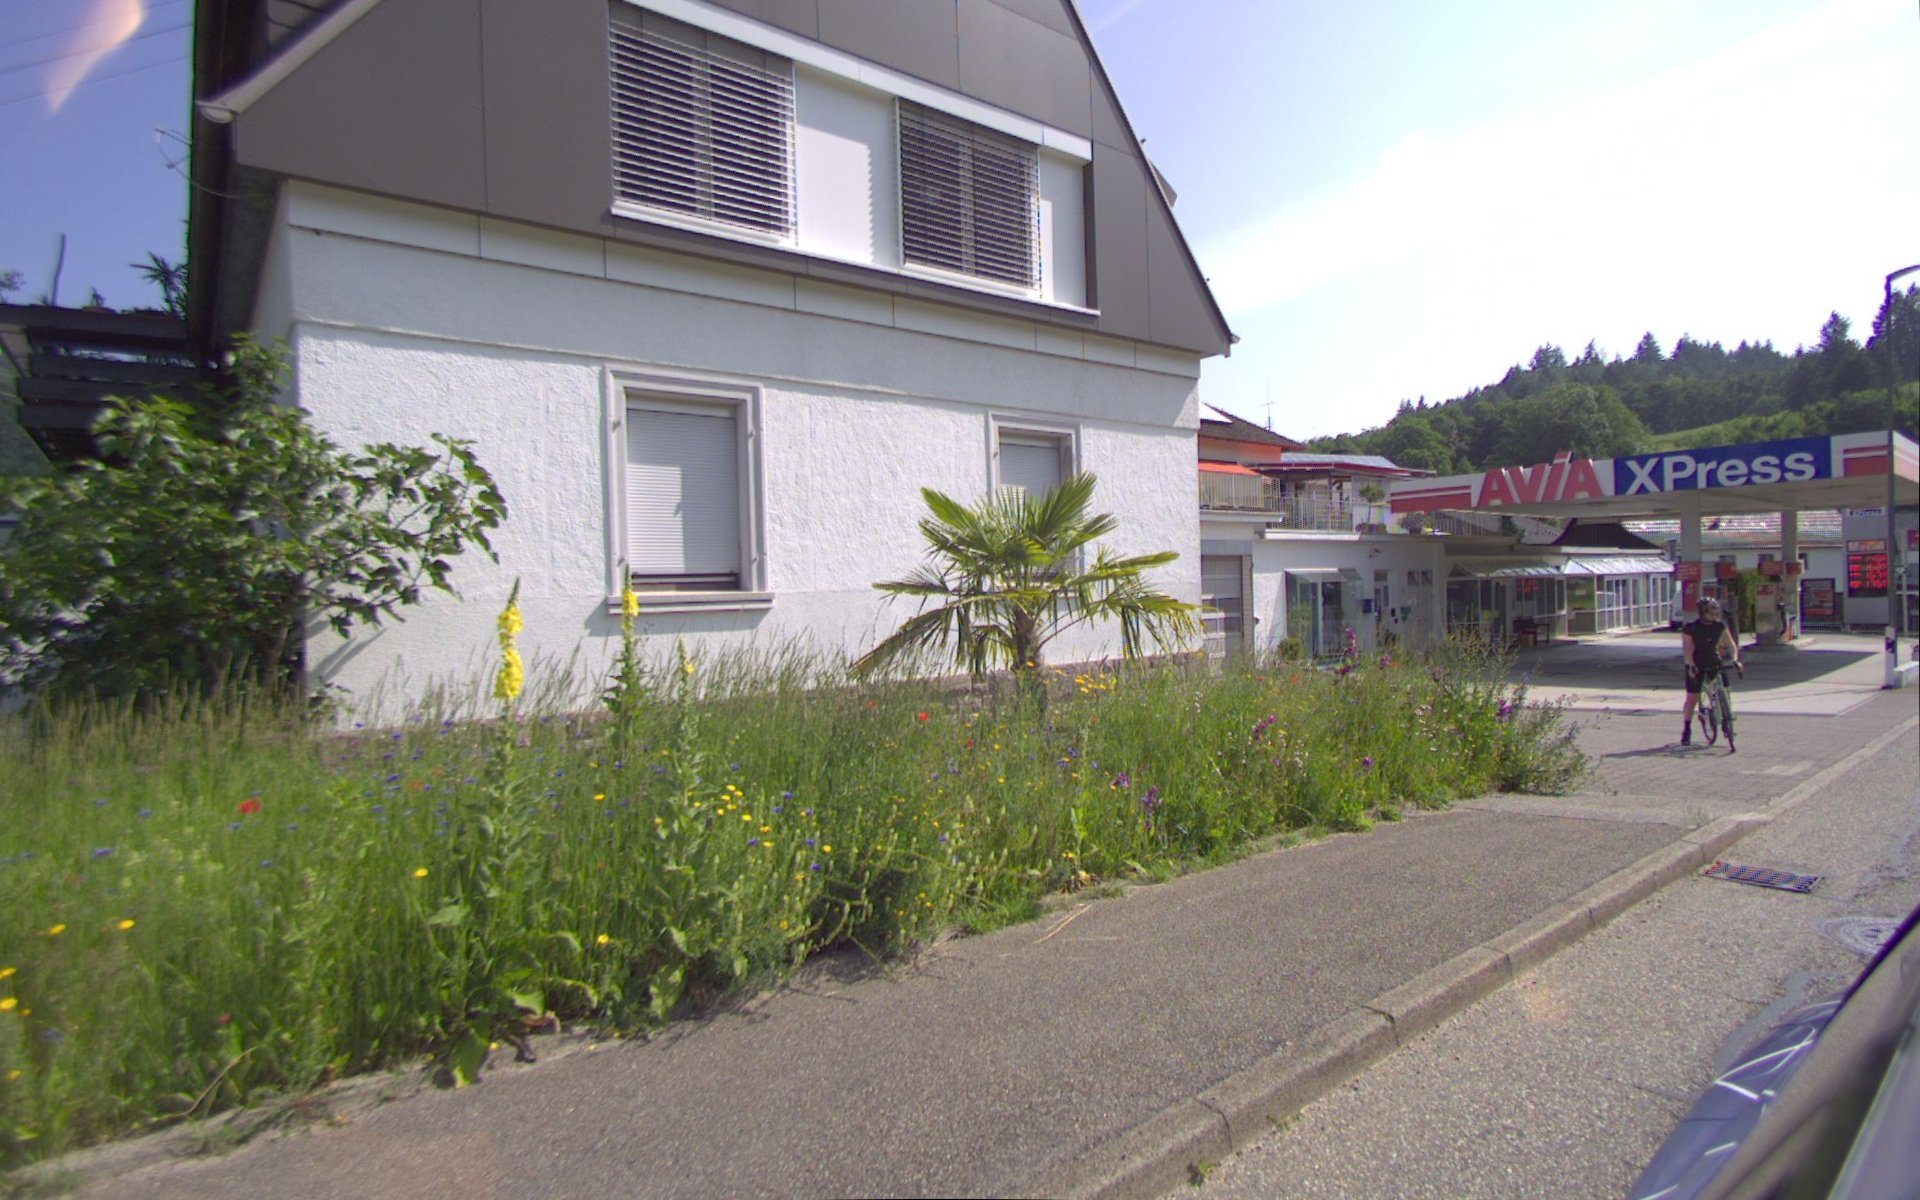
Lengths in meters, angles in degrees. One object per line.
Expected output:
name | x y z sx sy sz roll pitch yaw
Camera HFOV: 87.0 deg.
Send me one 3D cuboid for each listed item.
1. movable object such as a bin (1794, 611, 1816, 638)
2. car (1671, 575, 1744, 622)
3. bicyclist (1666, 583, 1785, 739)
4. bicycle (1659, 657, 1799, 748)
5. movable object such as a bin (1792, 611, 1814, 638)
movable object such as a bin | 27.783 0.803 33.263 0.519 0.856 0.480 0 -2 -43
car | 32.101 -0.075 43.423 3.932 1.839 1.682 -1 -2 -42
bicyclist | 8.577 0.683 11.391 0.682 1.654 1.132 -3 -4 21
bicycle | 8.590 1.115 11.405 0.682 0.930 1.935 -3 -4 21
movable object such as a bin | 27.376 0.793 32.866 0.488 0.856 0.480 0 -2 -43
